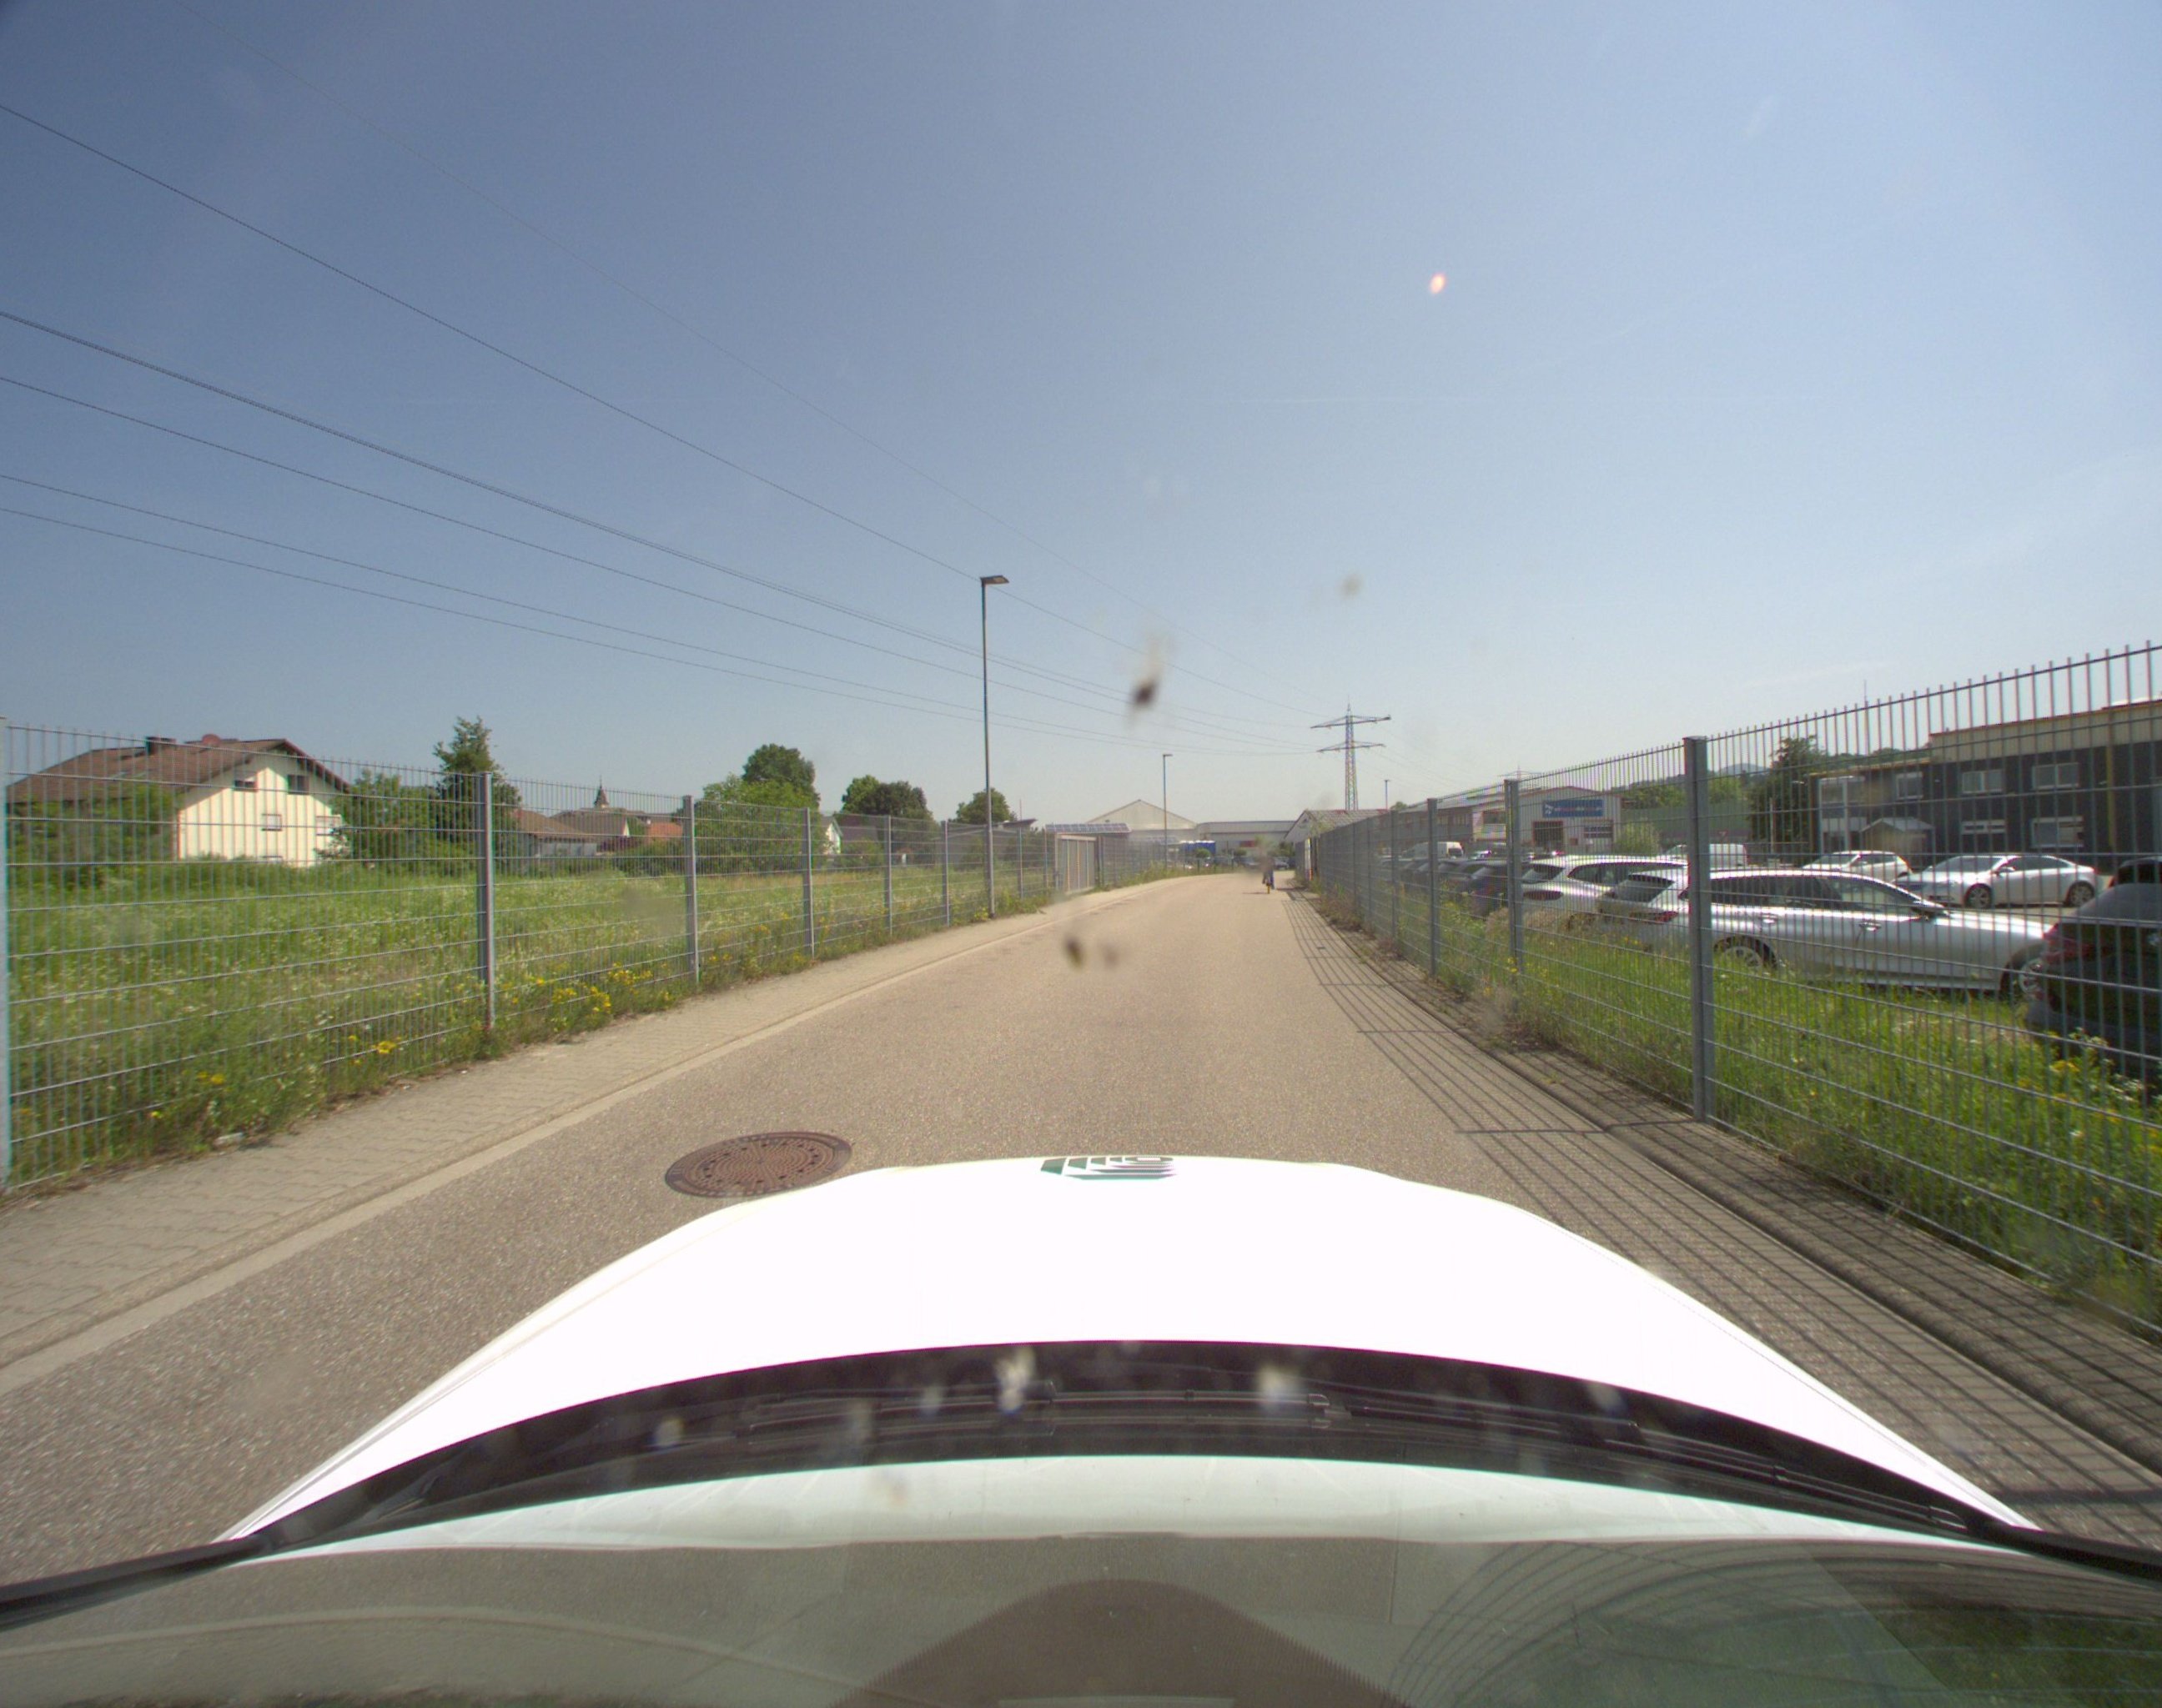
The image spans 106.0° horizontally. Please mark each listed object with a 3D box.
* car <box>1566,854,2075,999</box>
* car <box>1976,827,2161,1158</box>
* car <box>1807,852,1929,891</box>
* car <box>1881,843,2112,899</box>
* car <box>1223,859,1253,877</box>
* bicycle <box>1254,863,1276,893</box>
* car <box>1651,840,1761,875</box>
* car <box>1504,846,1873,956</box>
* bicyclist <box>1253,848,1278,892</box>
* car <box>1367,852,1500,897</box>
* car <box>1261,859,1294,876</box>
[{"bbox_3d":[8.474,0.757,9.762,4.184,1.406,1.844,2,0,10],"label":"car"},{"bbox_3d":[7.501,0.634,3.757,4.249,1.637,1.772,-2,1,15],"label":"car"},{"bbox_3d":[31.337,0.666,32.461,3.651,1.436,1.532,-1,0,-7],"label":"car"},{"bbox_3d":[24.334,0.434,21.729,4.498,1.351,1.625,-1,0,-3],"label":"car"},{"bbox_3d":[15.195,1.343,79.021,1.861,1.644,3.625,-1,0,-7],"label":"car"},{"bbox_3d":[6.955,0.894,30.717,0.680,1.051,1.909,0,0,16],"label":"bicycle"},{"bbox_3d":[36.137,0.190,47.160,5.047,1.899,1.856,-1,0,-3],"label":"car"},{"bbox_3d":[9.064,0.635,12.587,4.178,1.406,1.846,2,0,16],"label":"car"},{"bbox_3d":[6.938,0.596,30.636,0.836,1.618,1.044,0,1,16],"label":"bicyclist"},{"bbox_3d":[12.751,0.732,29.644,4.139,1.474,1.642,2,0,8],"label":"car"},{"bbox_3d":[18.951,1.288,78.566,1.861,1.554,3.761,-1,0,-7],"label":"car"}]
